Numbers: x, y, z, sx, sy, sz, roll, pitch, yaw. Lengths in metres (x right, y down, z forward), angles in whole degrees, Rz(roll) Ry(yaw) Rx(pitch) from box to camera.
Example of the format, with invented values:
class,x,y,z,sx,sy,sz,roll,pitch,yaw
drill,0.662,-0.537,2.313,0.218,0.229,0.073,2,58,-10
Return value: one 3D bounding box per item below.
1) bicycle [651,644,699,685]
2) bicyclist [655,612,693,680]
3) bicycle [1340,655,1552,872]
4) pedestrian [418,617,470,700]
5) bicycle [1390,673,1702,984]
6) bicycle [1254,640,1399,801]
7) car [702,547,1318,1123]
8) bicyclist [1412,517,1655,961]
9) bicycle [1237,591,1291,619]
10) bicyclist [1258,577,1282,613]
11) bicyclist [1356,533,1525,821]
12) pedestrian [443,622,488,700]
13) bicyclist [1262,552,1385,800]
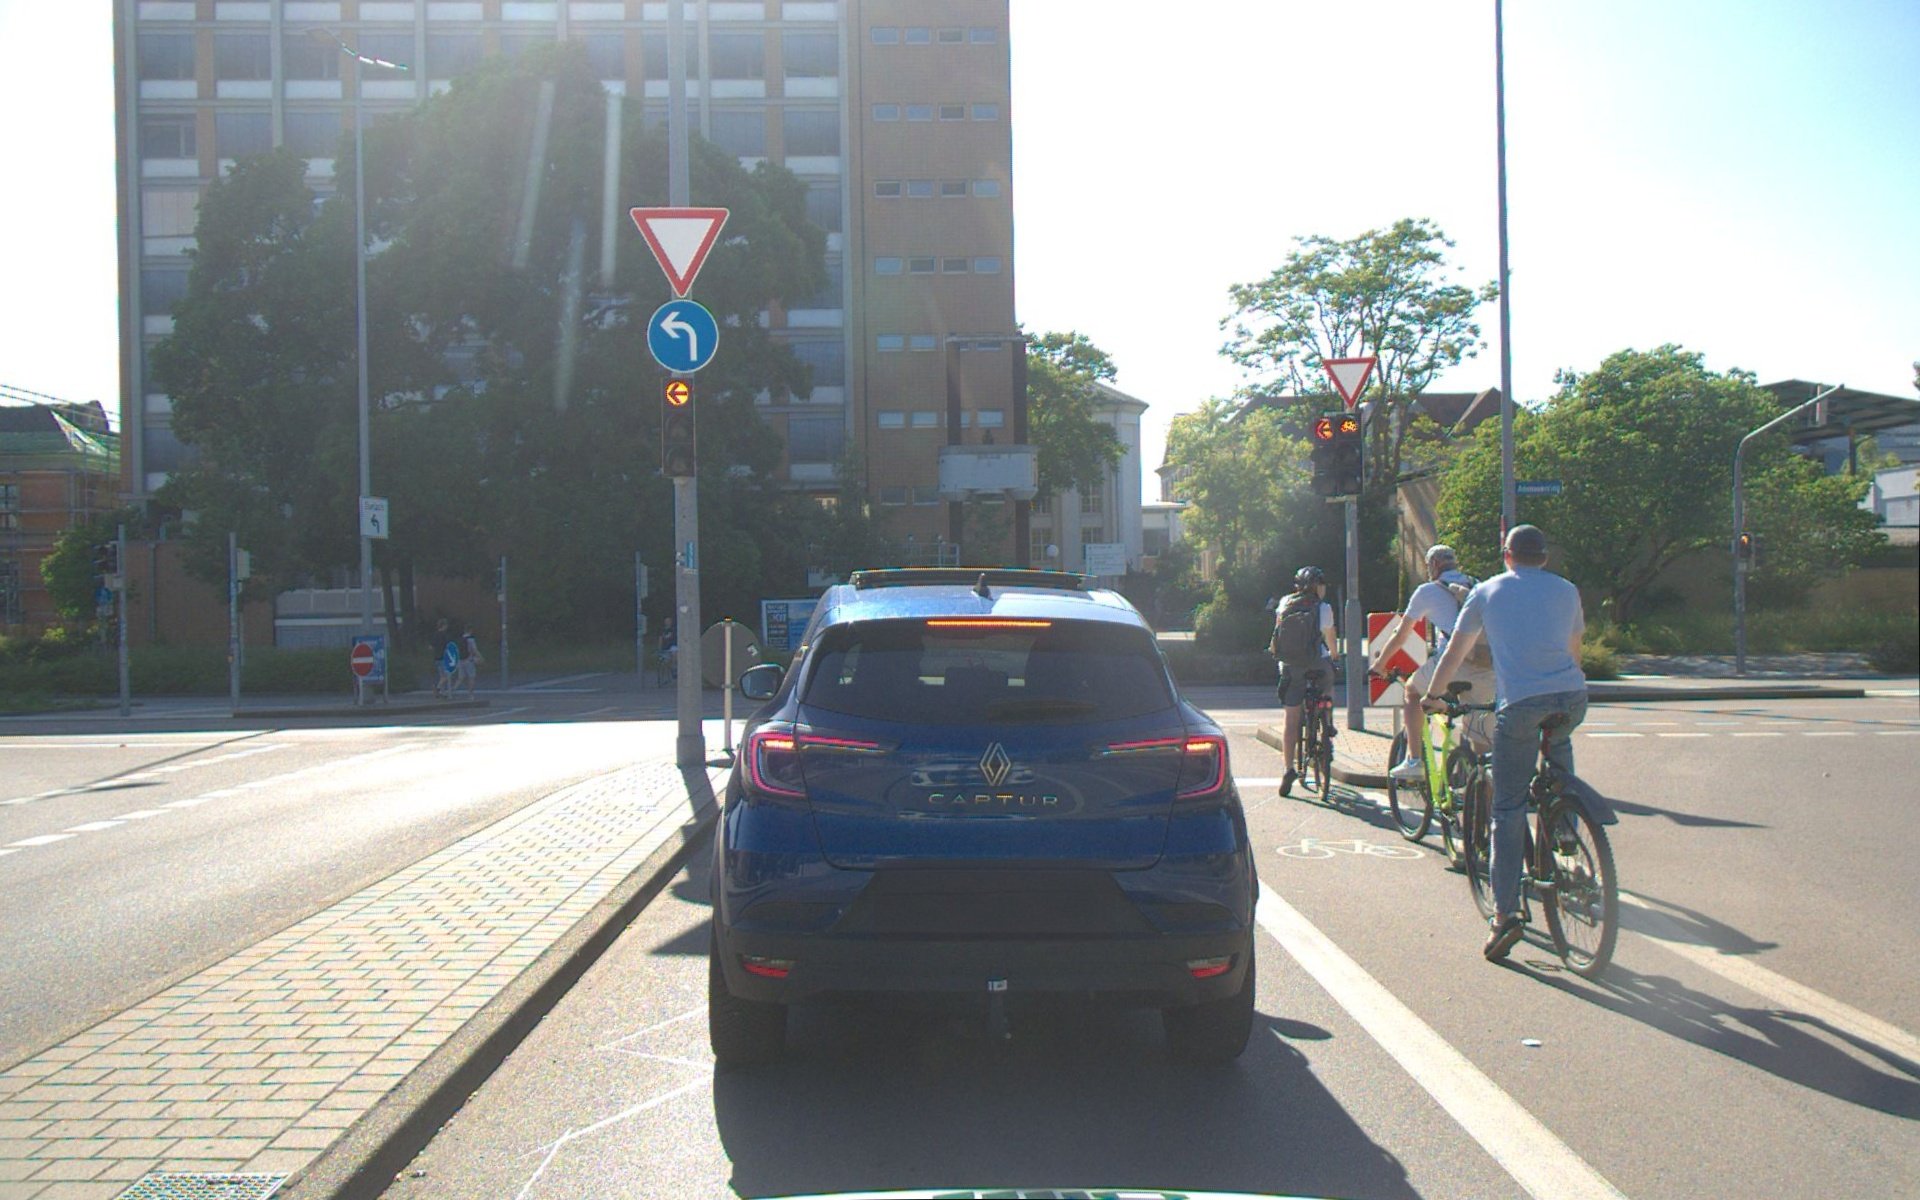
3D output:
class,x,y,z,sx,sy,sz,roll,pitch,yaw
bicycle,-7.522,1.698,43.769,0.739,1.002,2.095,-1,0,5
bicyclist,-7.541,1.208,43.666,0.739,1.746,0.999,-1,0,5
bicycle,2.845,0.911,9.886,0.675,1.108,1.922,0,0,-1
pedestrian,-12.112,1.362,38.841,0.796,1.895,0.910,-1,0,13
bicycle,2.505,0.921,7.320,0.675,1.108,1.922,0,0,-1
bicycle,2.794,0.882,12.793,0.675,1.108,1.922,0,0,-1
car,0.062,0.664,6.644,1.753,1.613,3.912,0,0,-3
bicyclist,2.510,0.570,7.358,0.669,1.822,1.142,0,0,-1
bicycle,12.831,0.211,69.872,0.688,1.160,2.411,-1,0,-35
bicyclist,13.035,-0.196,69.592,0.688,1.507,0.709,-1,0,-34
bicyclist,2.842,0.434,9.887,0.664,1.622,1.142,0,0,-1
pedestrian,-11.417,1.408,38.205,0.666,1.761,0.761,-1,0,13
bicyclist,2.774,0.562,12.724,0.685,1.822,1.142,0,0,-1
